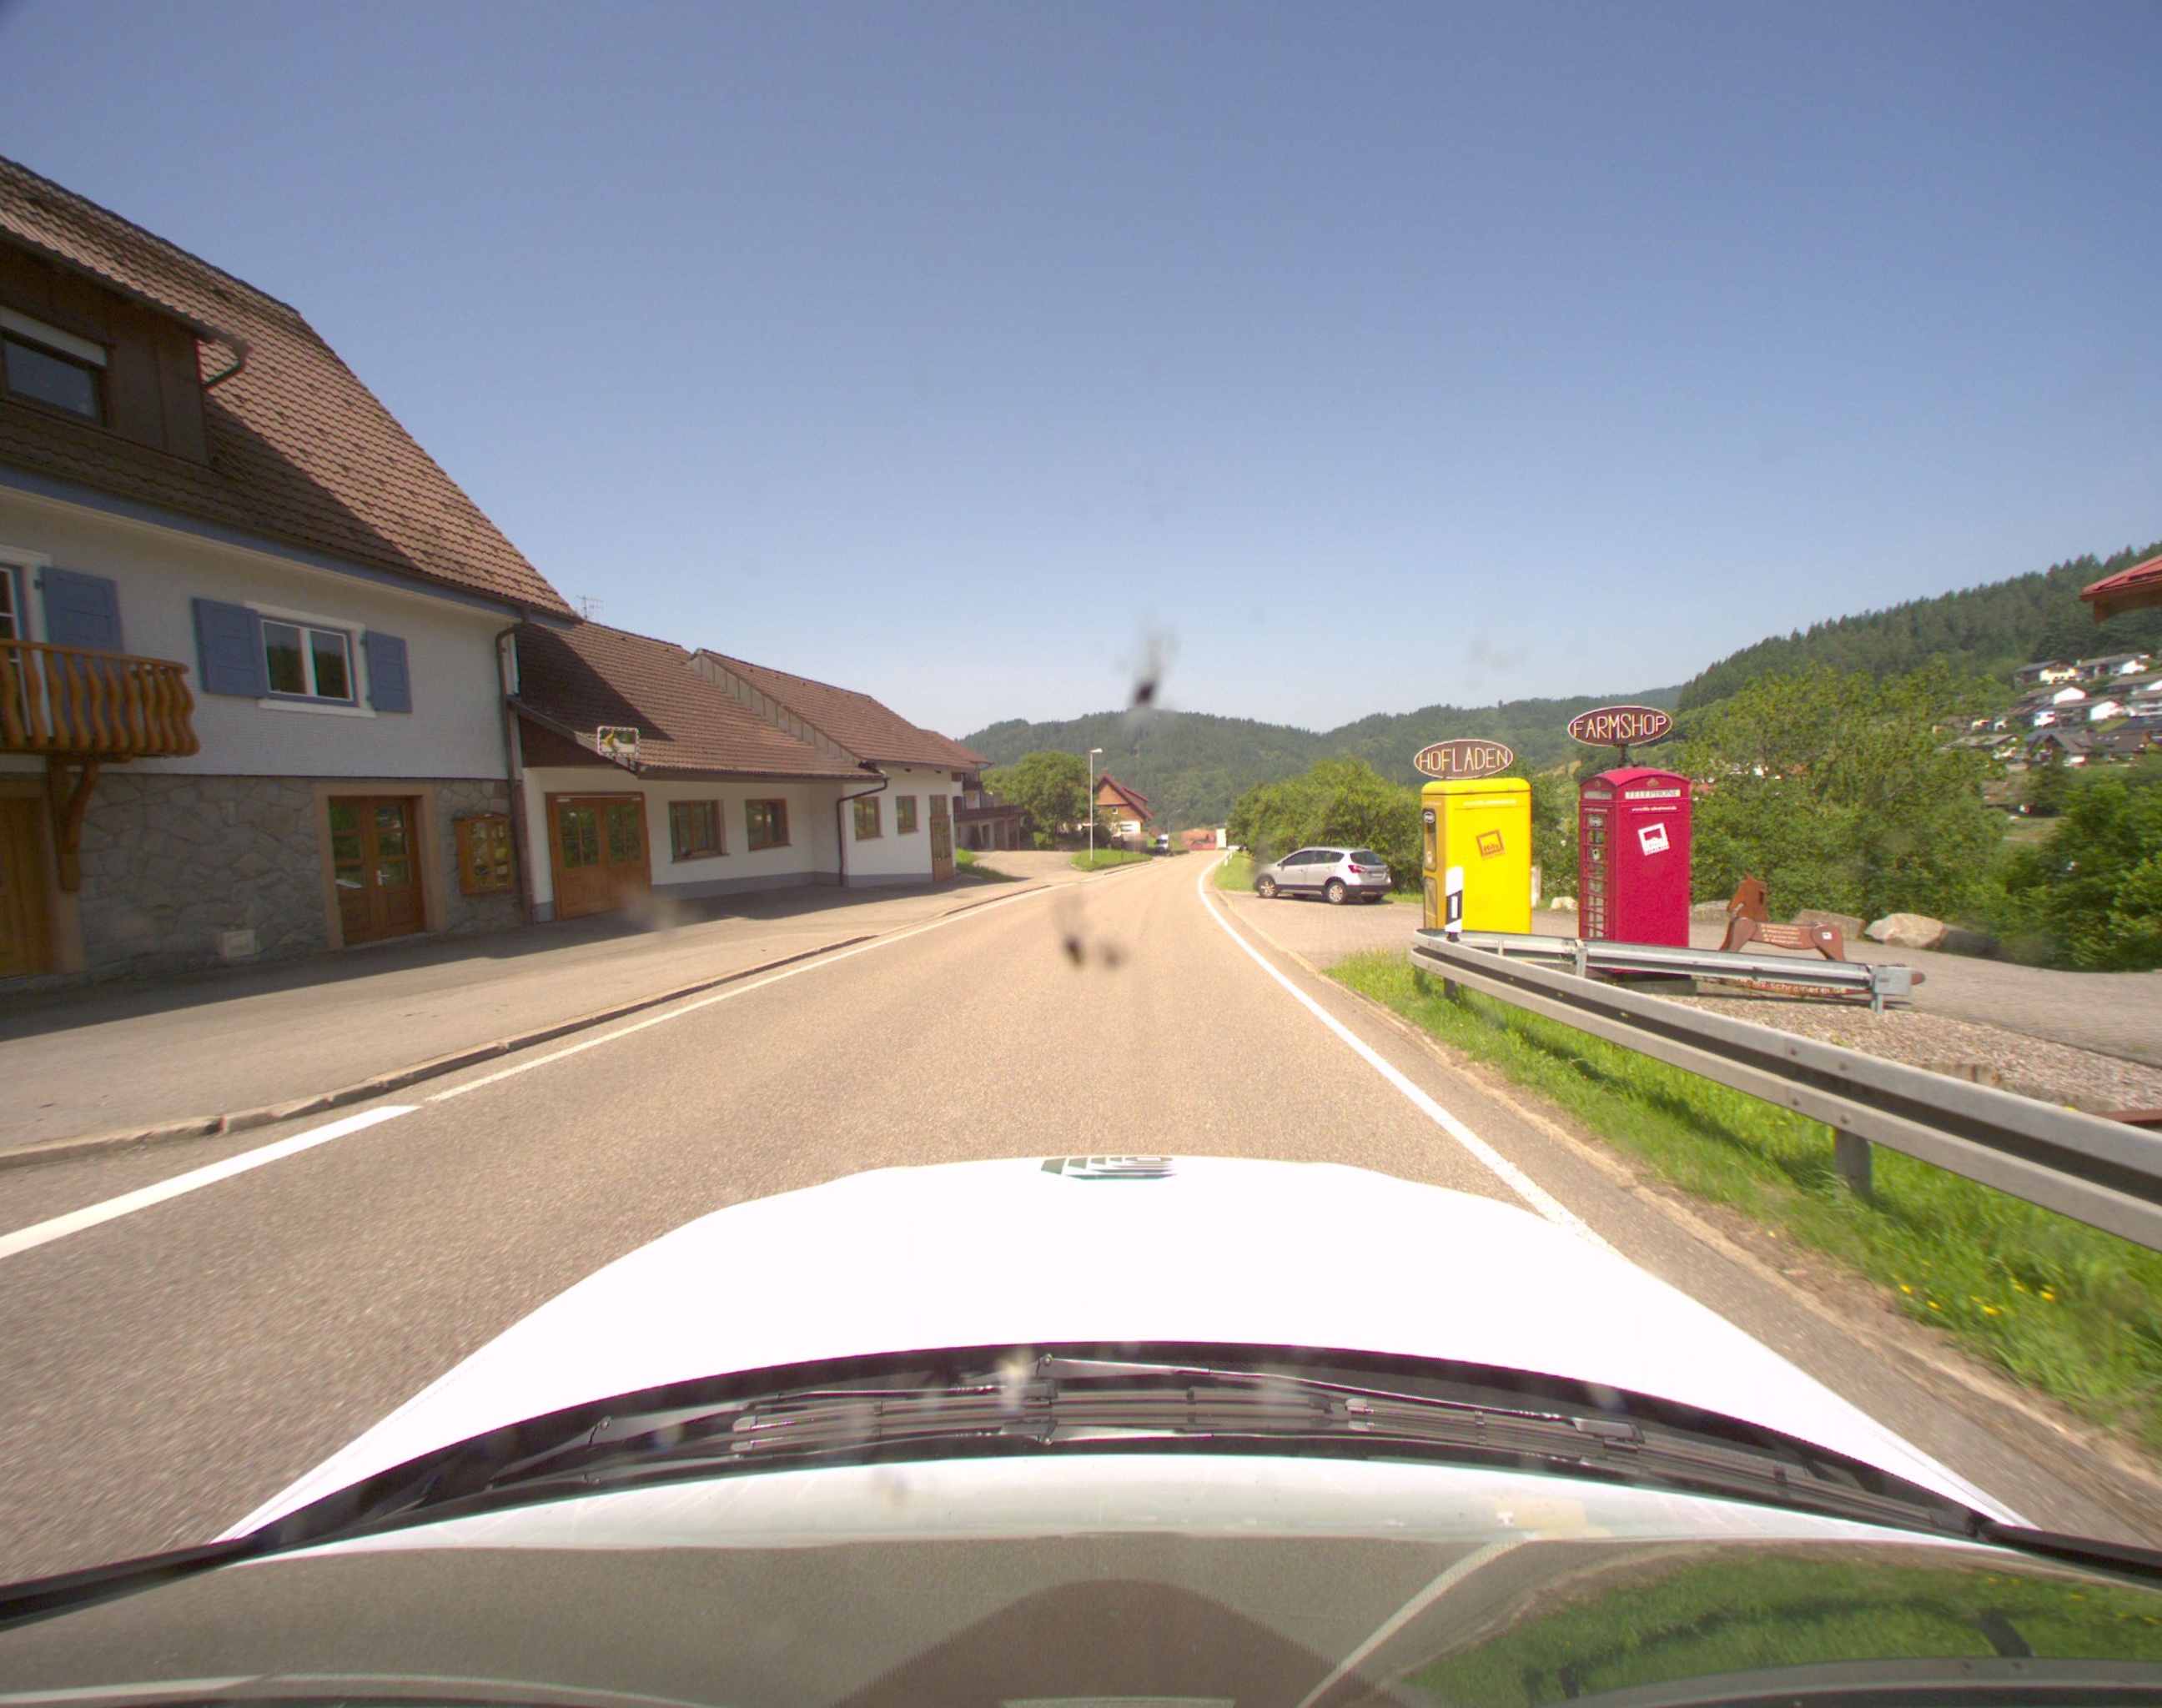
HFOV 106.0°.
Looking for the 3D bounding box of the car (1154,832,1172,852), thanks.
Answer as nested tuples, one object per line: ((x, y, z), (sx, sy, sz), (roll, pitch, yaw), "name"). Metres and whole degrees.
((12.635, -1.916, 125.483), (2.054, 2.688, 7.197), (-2, 4, 10), "car")

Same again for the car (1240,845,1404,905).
((6.942, 0.531, 23.928), (1.913, 1.571, 4.415), (0, 1, -34), "car")
